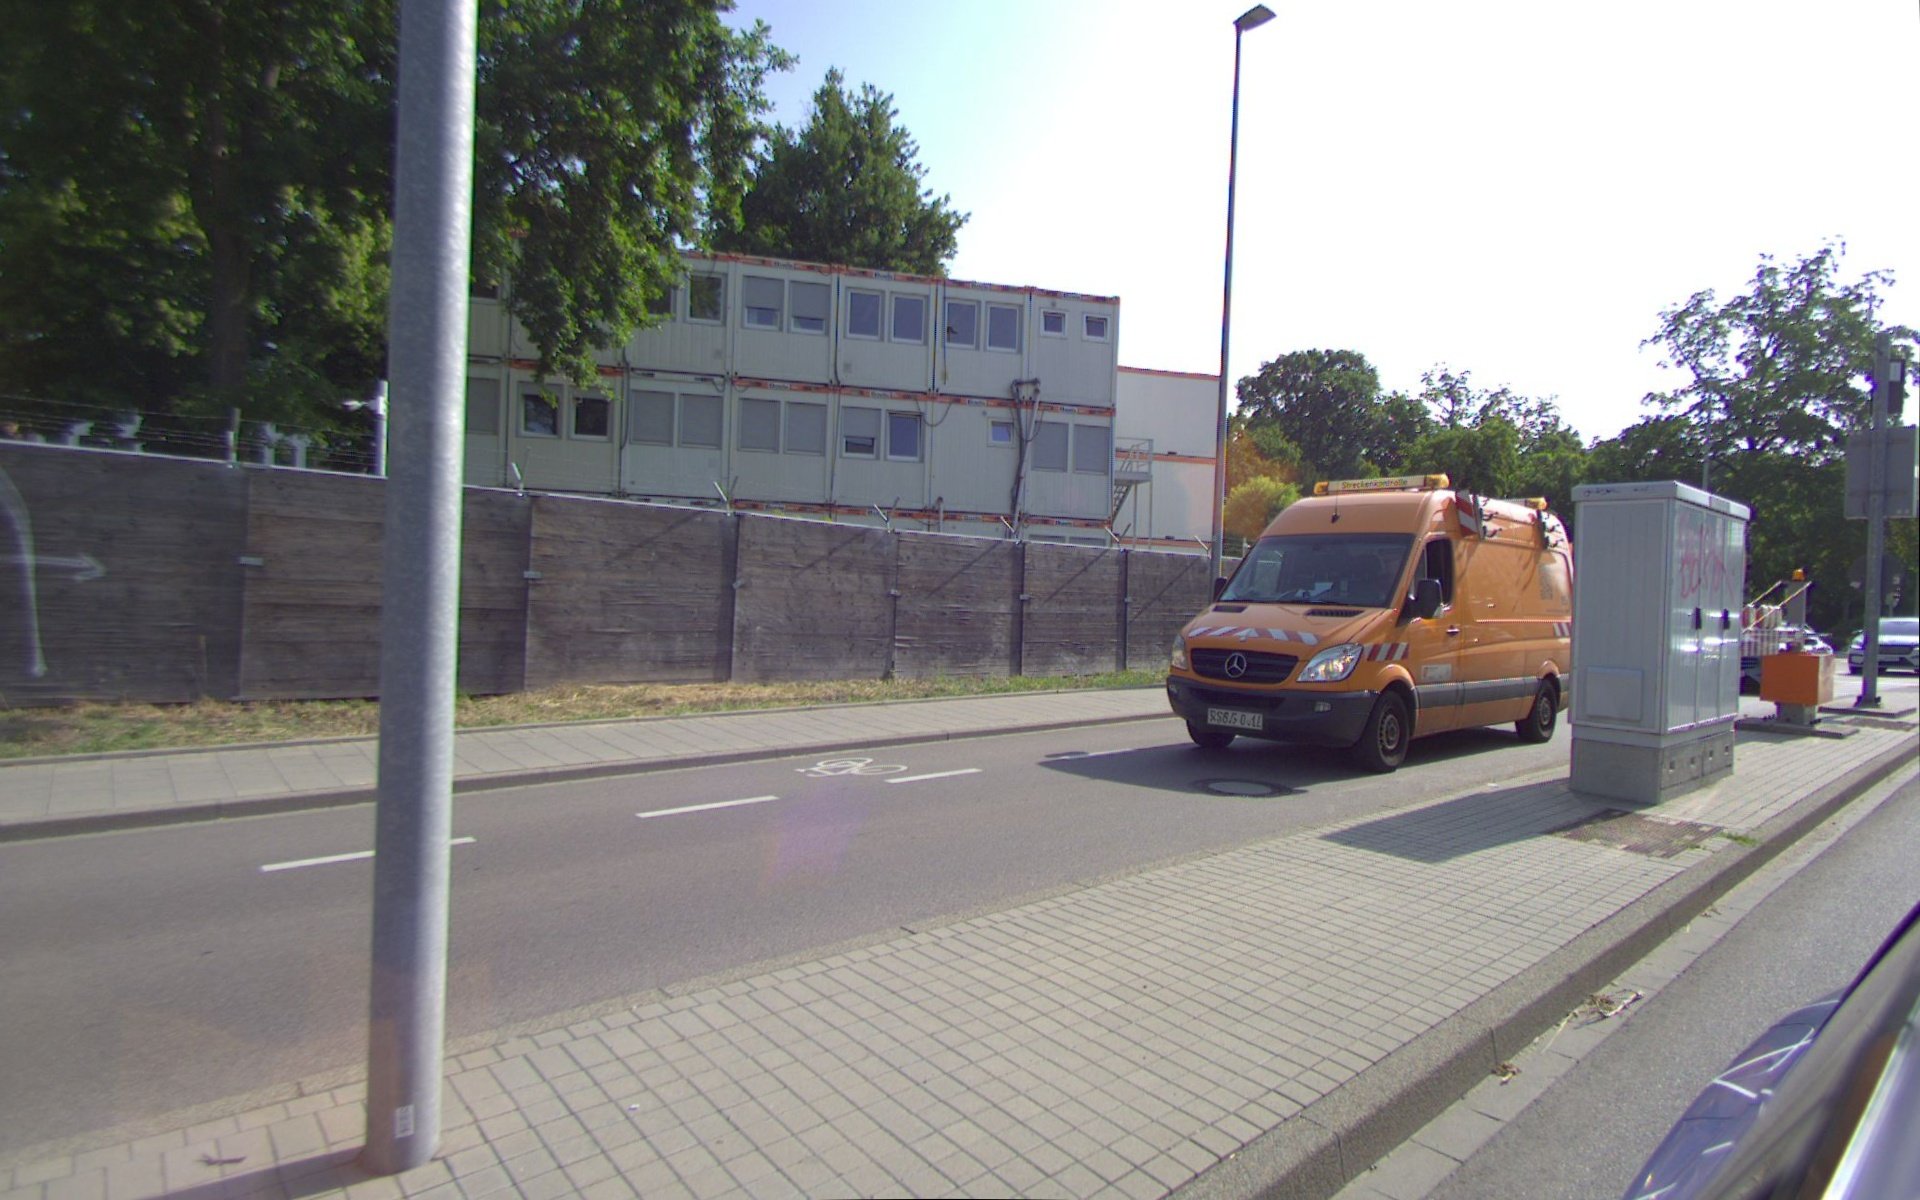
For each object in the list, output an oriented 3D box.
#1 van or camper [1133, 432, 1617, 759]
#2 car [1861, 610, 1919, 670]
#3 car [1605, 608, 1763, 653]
[{"bbox_3d":[4.531,0.006,10.415,5.951,2.504,1.990,1,-1,-39],"label":"van or camper"},{"bbox_3d":[26.866,1.078,28.309,4.174,1.590,1.896,1,0,-40],"label":"car"},{"bbox_3d":[26.411,1.071,37.101,1.958,1.423,4.291,1,1,-22],"label":"car"}]
